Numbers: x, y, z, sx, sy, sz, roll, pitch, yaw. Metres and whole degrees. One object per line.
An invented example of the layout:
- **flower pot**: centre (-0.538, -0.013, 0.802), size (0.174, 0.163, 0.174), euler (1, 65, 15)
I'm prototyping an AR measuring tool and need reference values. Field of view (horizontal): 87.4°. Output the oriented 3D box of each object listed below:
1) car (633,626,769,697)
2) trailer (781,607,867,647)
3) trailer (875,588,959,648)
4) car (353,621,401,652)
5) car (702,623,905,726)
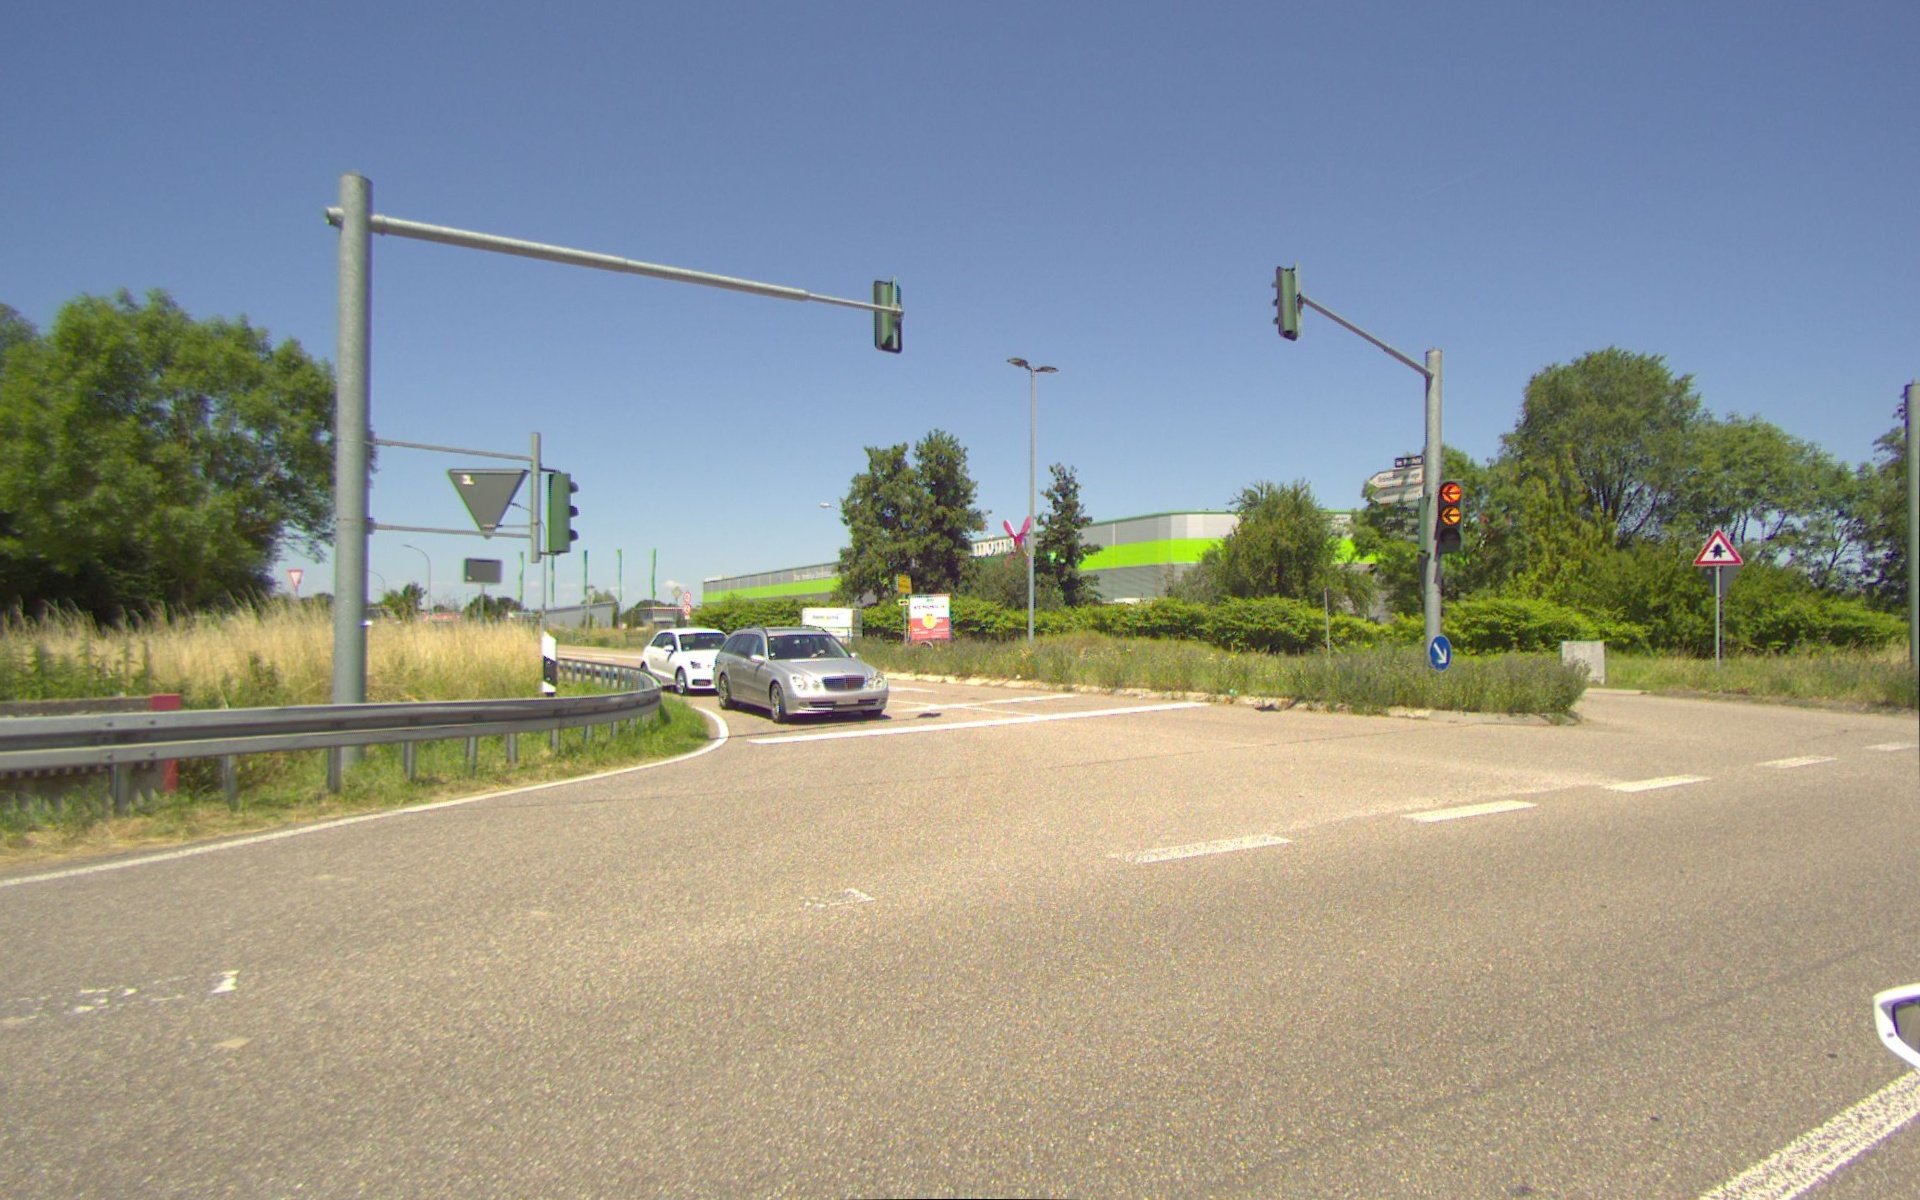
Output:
- **car**: centre (-6.039, 1.347, 23.098), size (1.754, 1.417, 3.924), euler (0, -1, -36)
- **trailer**: centre (-6.506, 1.294, 48.210), size (3.682, 1.815, 1.828), euler (1, -1, 15)
- **trailer**: centre (-2.047, 0.847, 48.538), size (3.682, 2.801, 1.828), euler (1, -1, 14)
- **car**: centre (-32.125, 1.972, 55.276), size (1.755, 1.646, 4.189), euler (0, -1, -38)
- **car**: centre (-2.876, 1.160, 17.372), size (1.855, 1.476, 4.932), euler (1, -1, -29)
